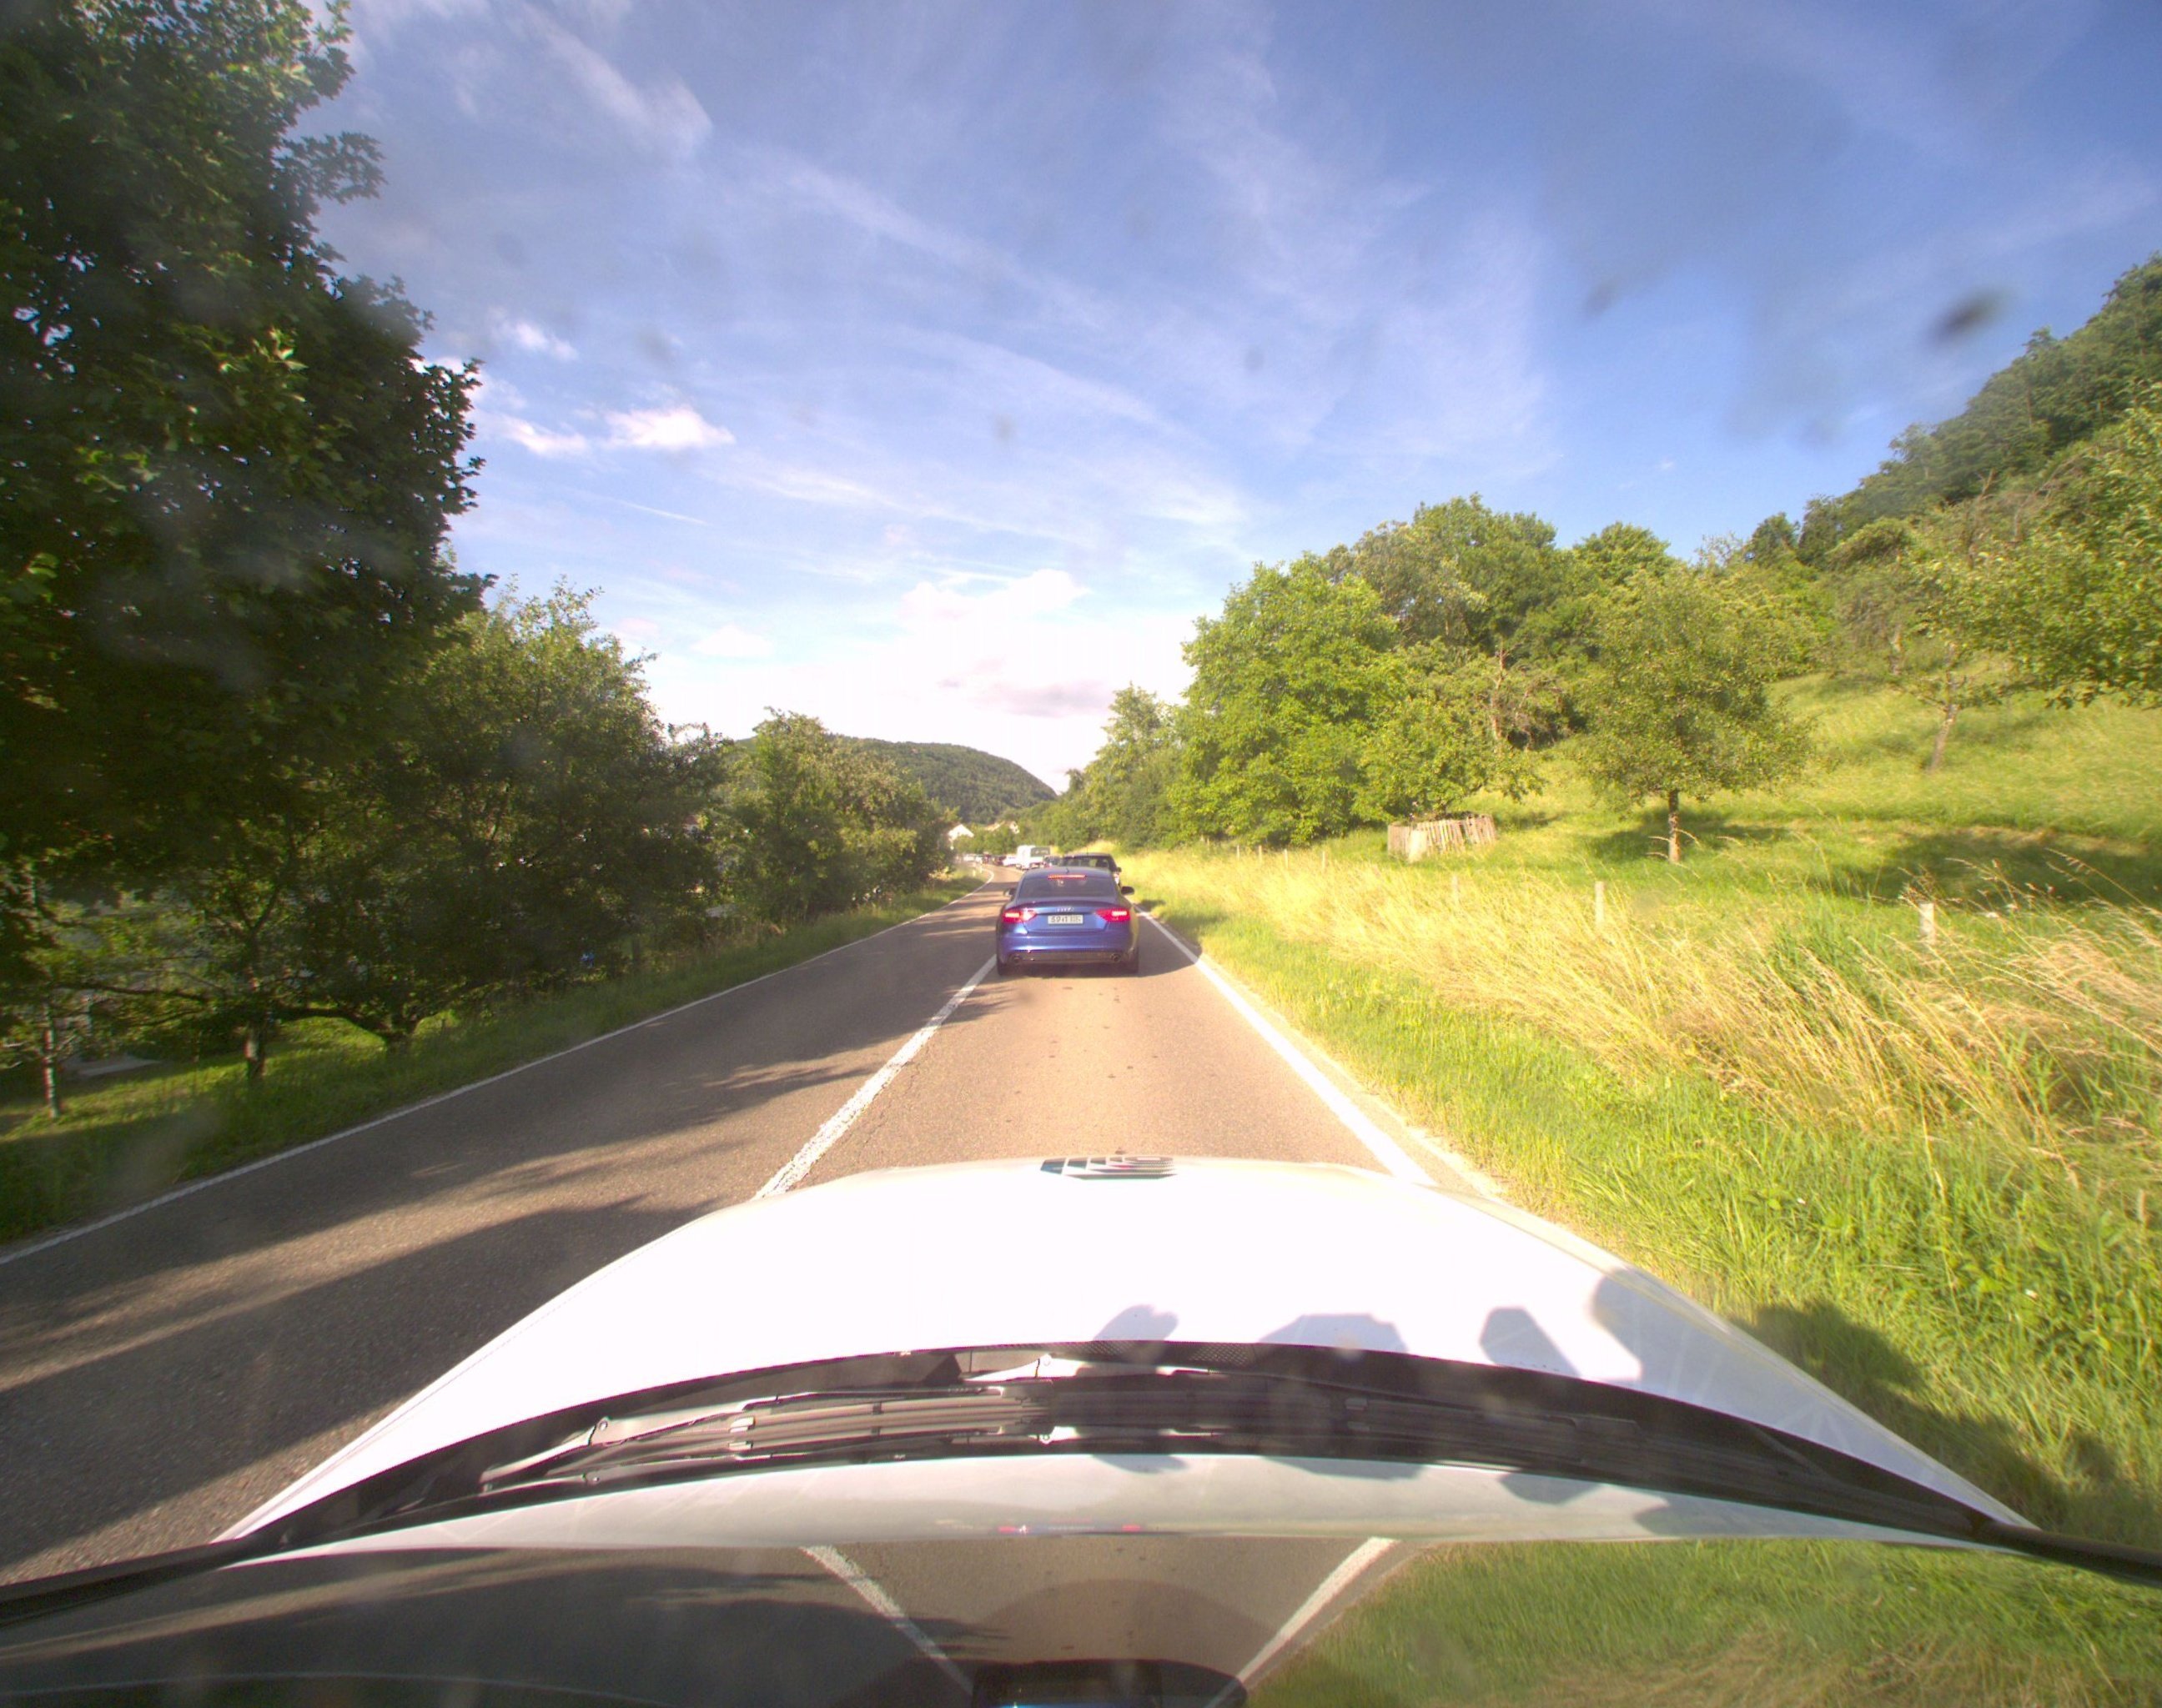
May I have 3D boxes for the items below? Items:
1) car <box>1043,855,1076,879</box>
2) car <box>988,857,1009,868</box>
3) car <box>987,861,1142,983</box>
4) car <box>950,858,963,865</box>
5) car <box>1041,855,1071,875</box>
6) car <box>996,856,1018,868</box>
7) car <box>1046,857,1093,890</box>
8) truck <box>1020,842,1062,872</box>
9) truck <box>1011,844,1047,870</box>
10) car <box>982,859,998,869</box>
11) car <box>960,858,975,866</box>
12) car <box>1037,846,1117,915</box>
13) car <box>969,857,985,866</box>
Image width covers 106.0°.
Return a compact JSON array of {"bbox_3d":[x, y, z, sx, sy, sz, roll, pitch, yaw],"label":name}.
[{"bbox_3d":[-1.416,0.807,52.707,1.990,1.482,3.994,-1,-1,-4],"label":"car"},{"bbox_3d":[-11.533,1.172,113.728,2.000,1.482,3.973,0,-1,-20],"label":"car"},{"bbox_3d":[-0.131,0.817,11.530,1.787,1.360,4.001,-1,0,2],"label":"car"},{"bbox_3d":[-25.863,1.620,169.195,2.001,1.482,3.971,0,-1,-22],"label":"car"},{"bbox_3d":[-2.005,0.821,63.345,1.991,1.482,3.991,-1,-1,-7],"label":"car"},{"bbox_3d":[-9.710,1.078,106.355,2.000,1.482,3.973,0,-1,-20],"label":"car"},{"bbox_3d":[-0.445,0.837,36.370,1.987,1.387,4.000,-1,-1,1],"label":"car"},{"bbox_3d":[-4.041,0.301,79.865,2.864,2.665,10.356,0,0,-10],"label":"truck"},{"bbox_3d":[-5.989,0.350,91.910,2.864,2.665,10.607,0,0,-10],"label":"truck"},{"bbox_3d":[-15.149,1.652,134.840,1.997,1.482,3.978,0,-1,-16],"label":"car"},{"bbox_3d":[-21.786,1.499,156.758,2.001,1.482,3.971,0,-1,-22],"label":"car"},{"bbox_3d":[-0.063,0.686,22.358,1.987,1.702,4.000,-1,-1,1],"label":"car"},{"bbox_3d":[-18.470,1.365,144.410,2.001,1.482,3.971,0,-1,-22],"label":"car"}]
